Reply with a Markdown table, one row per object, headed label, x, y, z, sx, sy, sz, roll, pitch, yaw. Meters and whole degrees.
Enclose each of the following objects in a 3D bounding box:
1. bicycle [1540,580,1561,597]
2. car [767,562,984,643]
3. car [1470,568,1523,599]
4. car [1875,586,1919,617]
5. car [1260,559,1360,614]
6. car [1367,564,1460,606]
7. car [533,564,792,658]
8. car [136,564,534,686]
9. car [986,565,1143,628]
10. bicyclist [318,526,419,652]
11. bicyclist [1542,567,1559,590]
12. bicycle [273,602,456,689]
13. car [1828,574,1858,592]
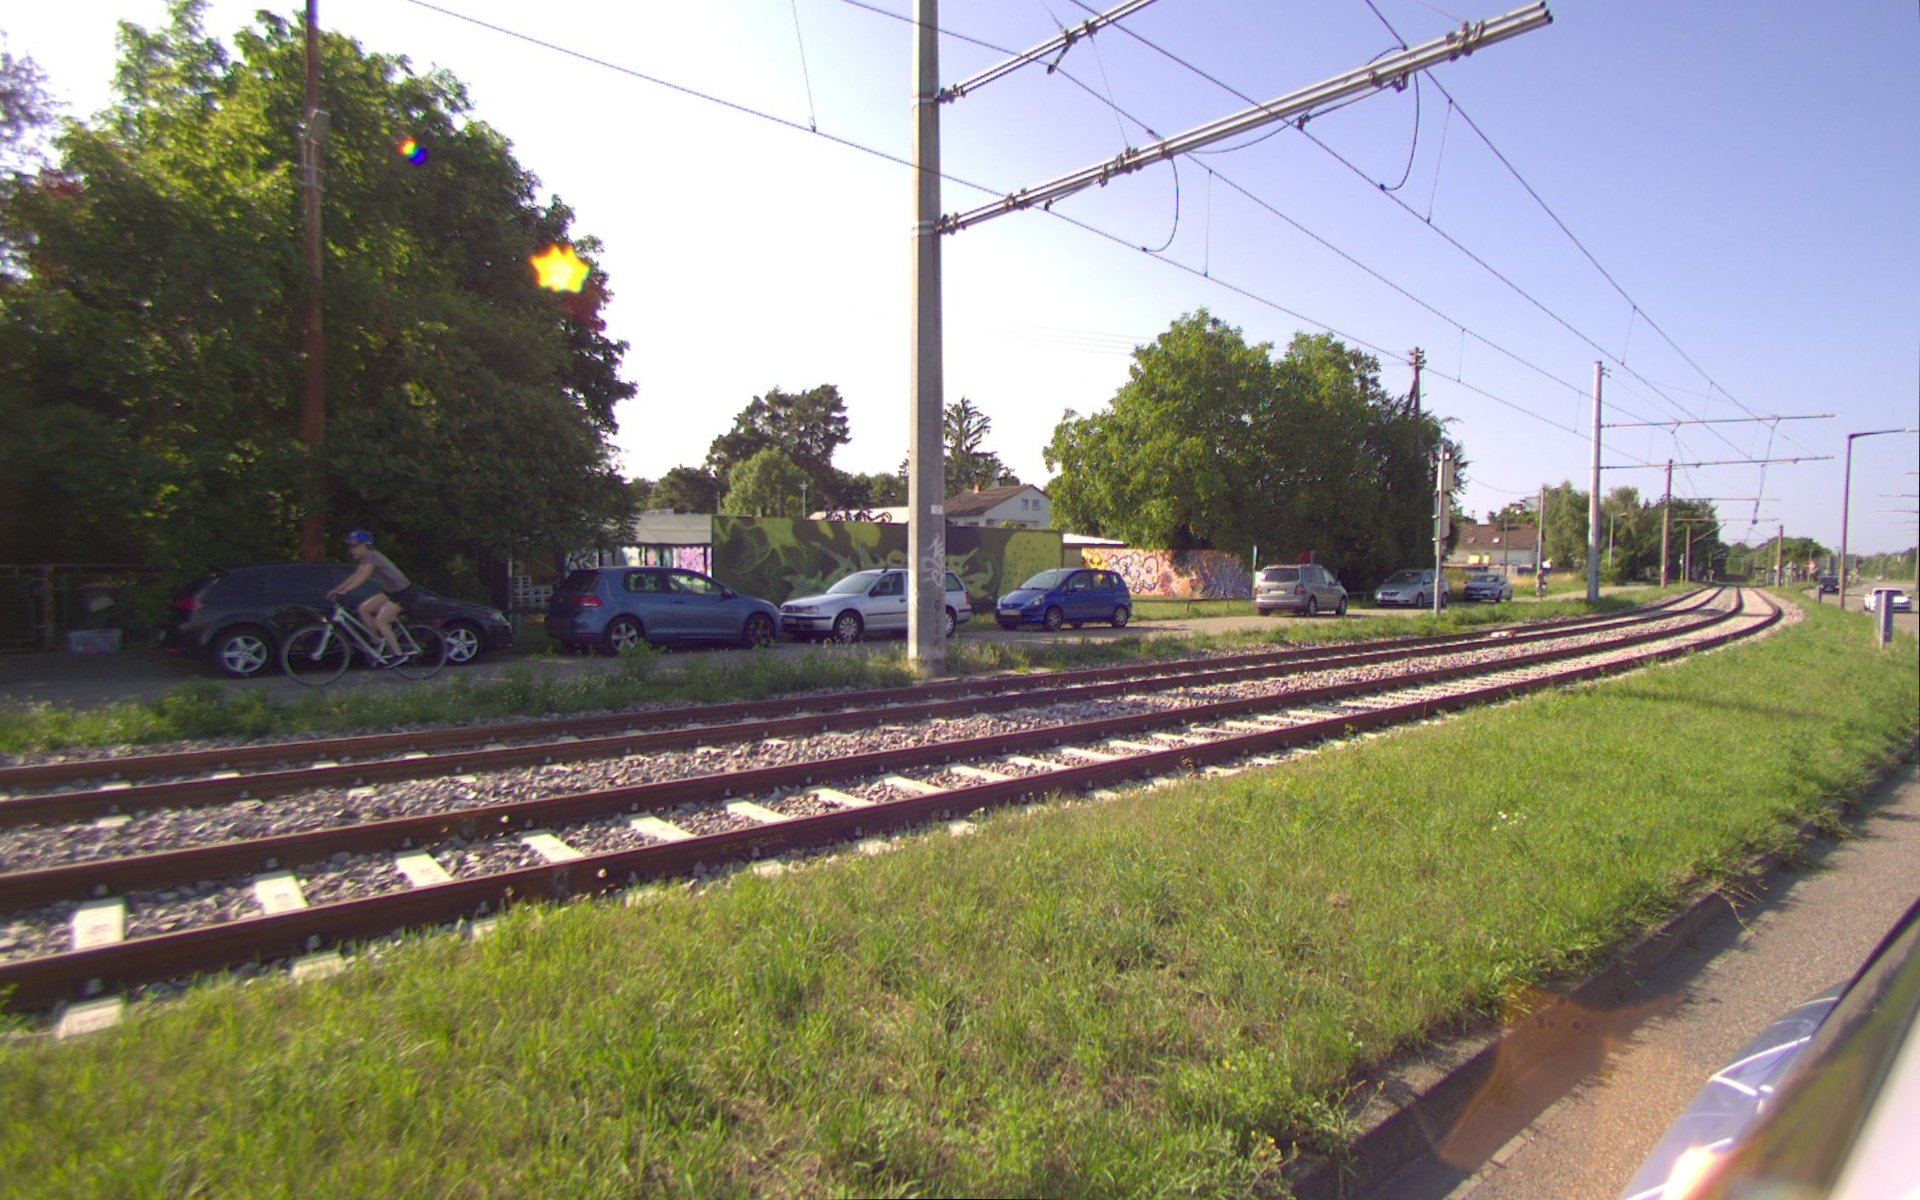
| label | x | y | z | sx | sy | sz | roll | pitch | yaw |
| --- | --- | --- | --- | --- | --- | --- | --- | --- | --- |
| bicycle | 31.820 | -0.618 | 54.547 | 0.642 | 0.921 | 1.786 | 1 | 1 | 41 |
| car | -1.661 | 0.008 | 20.921 | 4.314 | 1.483 | 1.712 | -1 | 2 | -42 |
| car | 27.004 | -0.826 | 50.891 | 1.532 | 1.466 | 4.073 | 3 | 3 | 39 |
| car | 54.041 | 0.060 | 57.967 | 1.958 | 1.638 | 4.253 | 1 | 2 | 36 |
| car | 11.402 | -0.454 | 32.818 | 1.521 | 1.630 | 4.418 | 3 | 3 | 41 |
| car | 18.780 | -0.638 | 41.833 | 4.650 | 1.610 | 1.909 | -1 | 3 | -44 |
| car | -4.975 | 0.110 | 17.341 | 1.484 | 1.418 | 4.086 | 2 | 3 | 43 |
| car | -8.436 | 0.251 | 13.971 | 4.447 | 1.428 | 1.624 | -1 | 1 | -44 |
| car | 2.615 | -0.098 | 24.970 | 3.842 | 1.448 | 1.681 | -1 | 0 | -40 |
| bicyclist | -7.104 | -0.137 | 12.158 | 0.945 | 1.440 | 0.630 | -1 | 1 | -41 |
| bicyclist | 31.784 | -1.147 | 54.496 | 0.639 | 1.248 | 0.779 | 1 | 1 | 41 |
| bicycle | -7.122 | 0.510 | 12.154 | 1.812 | 0.921 | 0.644 | -1 | 1 | -41 |
| car | 80.583 | -1.537 | 92.417 | 1.828 | 1.532 | 4.096 | 0 | 1 | 38 |
